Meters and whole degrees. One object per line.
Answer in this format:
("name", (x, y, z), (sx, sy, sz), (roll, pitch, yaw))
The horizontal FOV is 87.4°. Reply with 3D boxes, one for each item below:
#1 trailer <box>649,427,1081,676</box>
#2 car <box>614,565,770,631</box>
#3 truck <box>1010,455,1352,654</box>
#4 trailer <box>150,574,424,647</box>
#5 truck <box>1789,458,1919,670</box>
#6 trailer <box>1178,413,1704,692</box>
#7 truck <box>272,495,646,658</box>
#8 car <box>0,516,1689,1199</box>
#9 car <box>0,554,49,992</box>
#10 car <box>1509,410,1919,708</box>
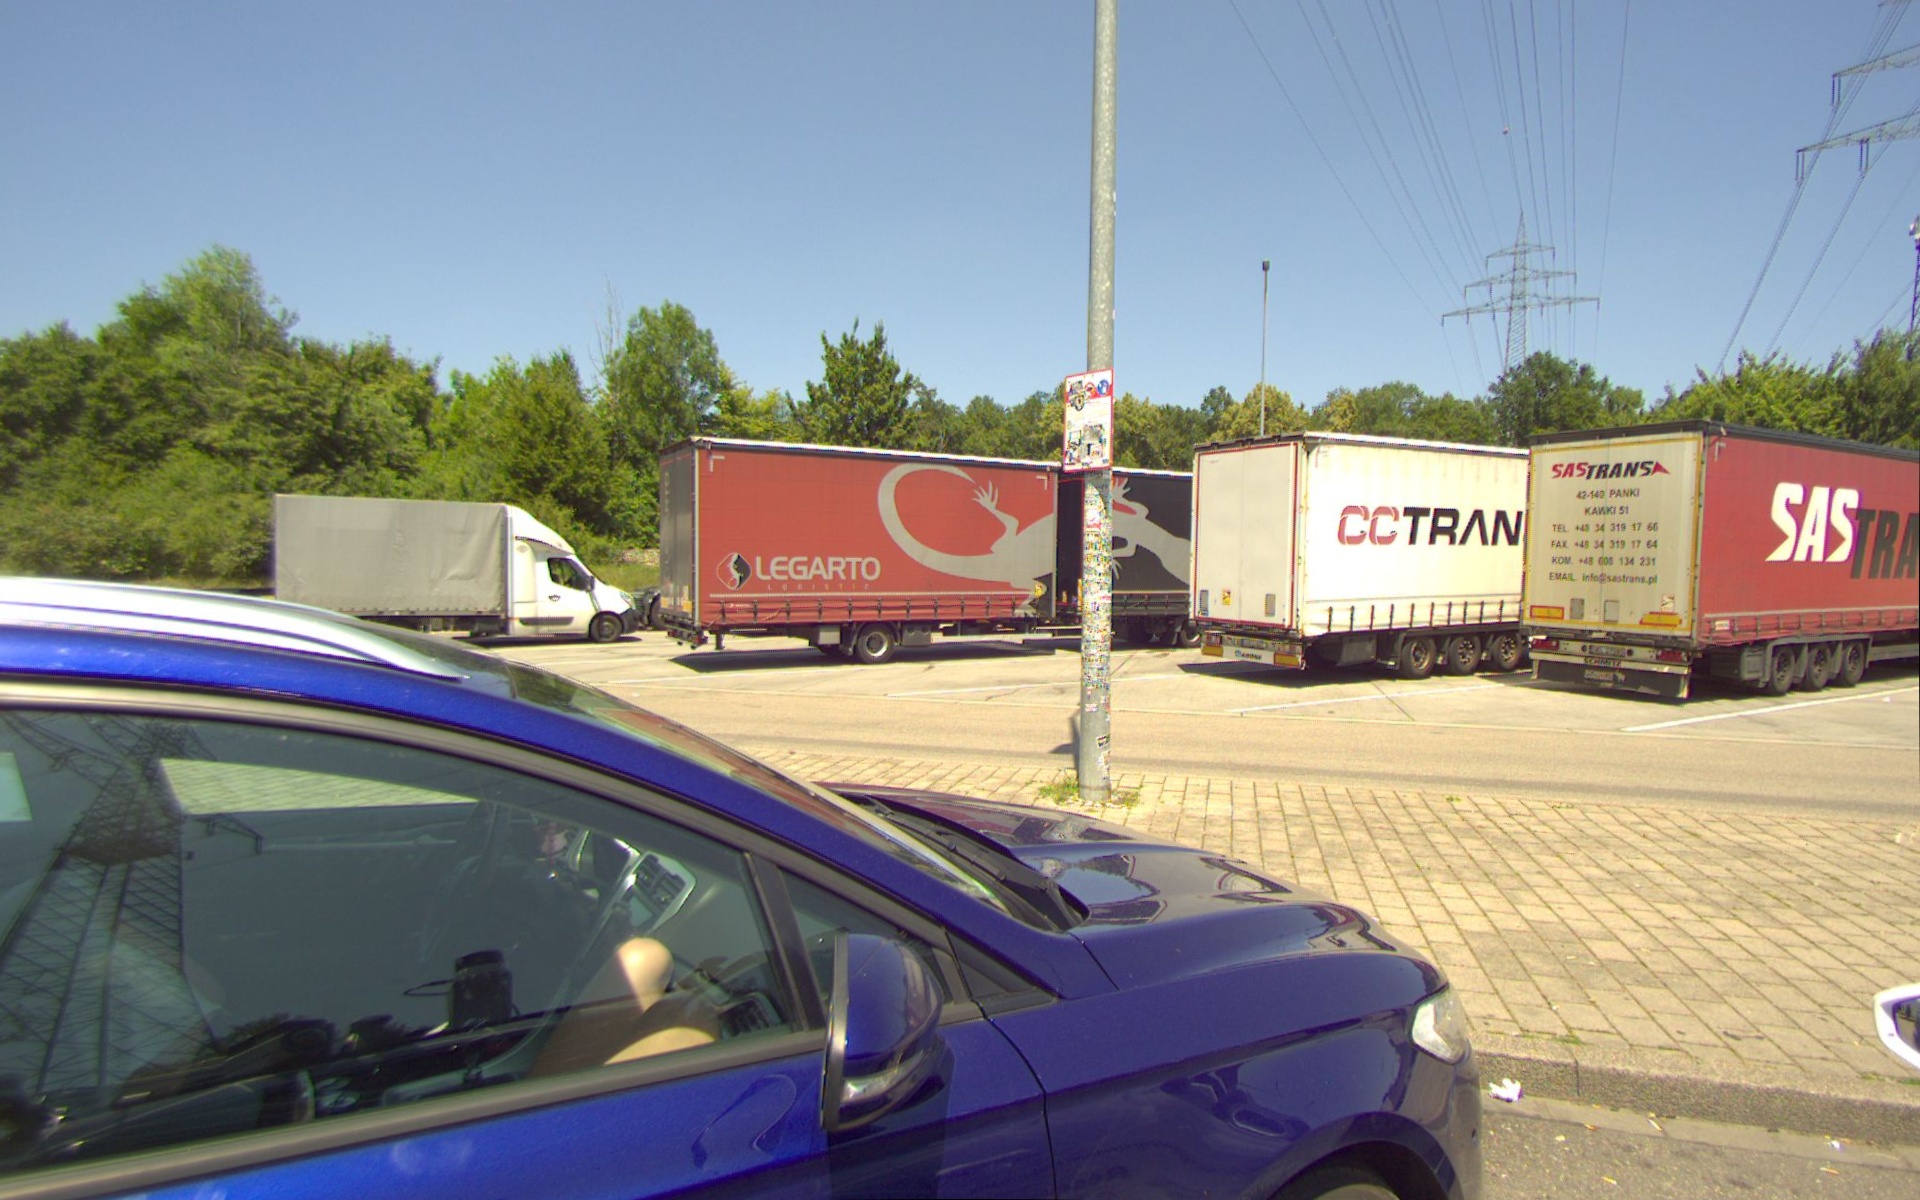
("trailer", (-1.729, -0.928, 20.508), (8.389, 4.248, 2.800), (-1, 2, -30))
("car", (-7.591, -0.046, 28.519), (3.953, 1.773, 1.902), (0, 0, -30))
("truck", (5.616, -1.076, 24.832), (8.683, 4.248, 2.800), (-1, 2, -30))
("trailer", (-15.936, 0.242, 24.182), (5.332, 1.617, 1.585), (0, 0, -30))
("truck", (21.156, -0.771, 21.871), (6.163, 4.169, 2.683), (-1, 3, -30))
("trailer", (10.125, -0.880, 20.072), (12.786, 4.325, 2.800), (-1, 2, -31))
("truck", (-11.101, -0.585, 22.877), (7.219, 3.277, 2.308), (-2, 3, -29))
("car", (-0.970, 0.672, 1.468), (4.380, 1.464, 1.771), (0, 0, -32))
("car", (-4.596, 0.557, 2.119), (3.700, 1.432, 1.595), (0, 0, -32))
("car", (15.231, -0.690, 18.459), (12.777, 4.169, 2.683), (-1, 3, -30))
